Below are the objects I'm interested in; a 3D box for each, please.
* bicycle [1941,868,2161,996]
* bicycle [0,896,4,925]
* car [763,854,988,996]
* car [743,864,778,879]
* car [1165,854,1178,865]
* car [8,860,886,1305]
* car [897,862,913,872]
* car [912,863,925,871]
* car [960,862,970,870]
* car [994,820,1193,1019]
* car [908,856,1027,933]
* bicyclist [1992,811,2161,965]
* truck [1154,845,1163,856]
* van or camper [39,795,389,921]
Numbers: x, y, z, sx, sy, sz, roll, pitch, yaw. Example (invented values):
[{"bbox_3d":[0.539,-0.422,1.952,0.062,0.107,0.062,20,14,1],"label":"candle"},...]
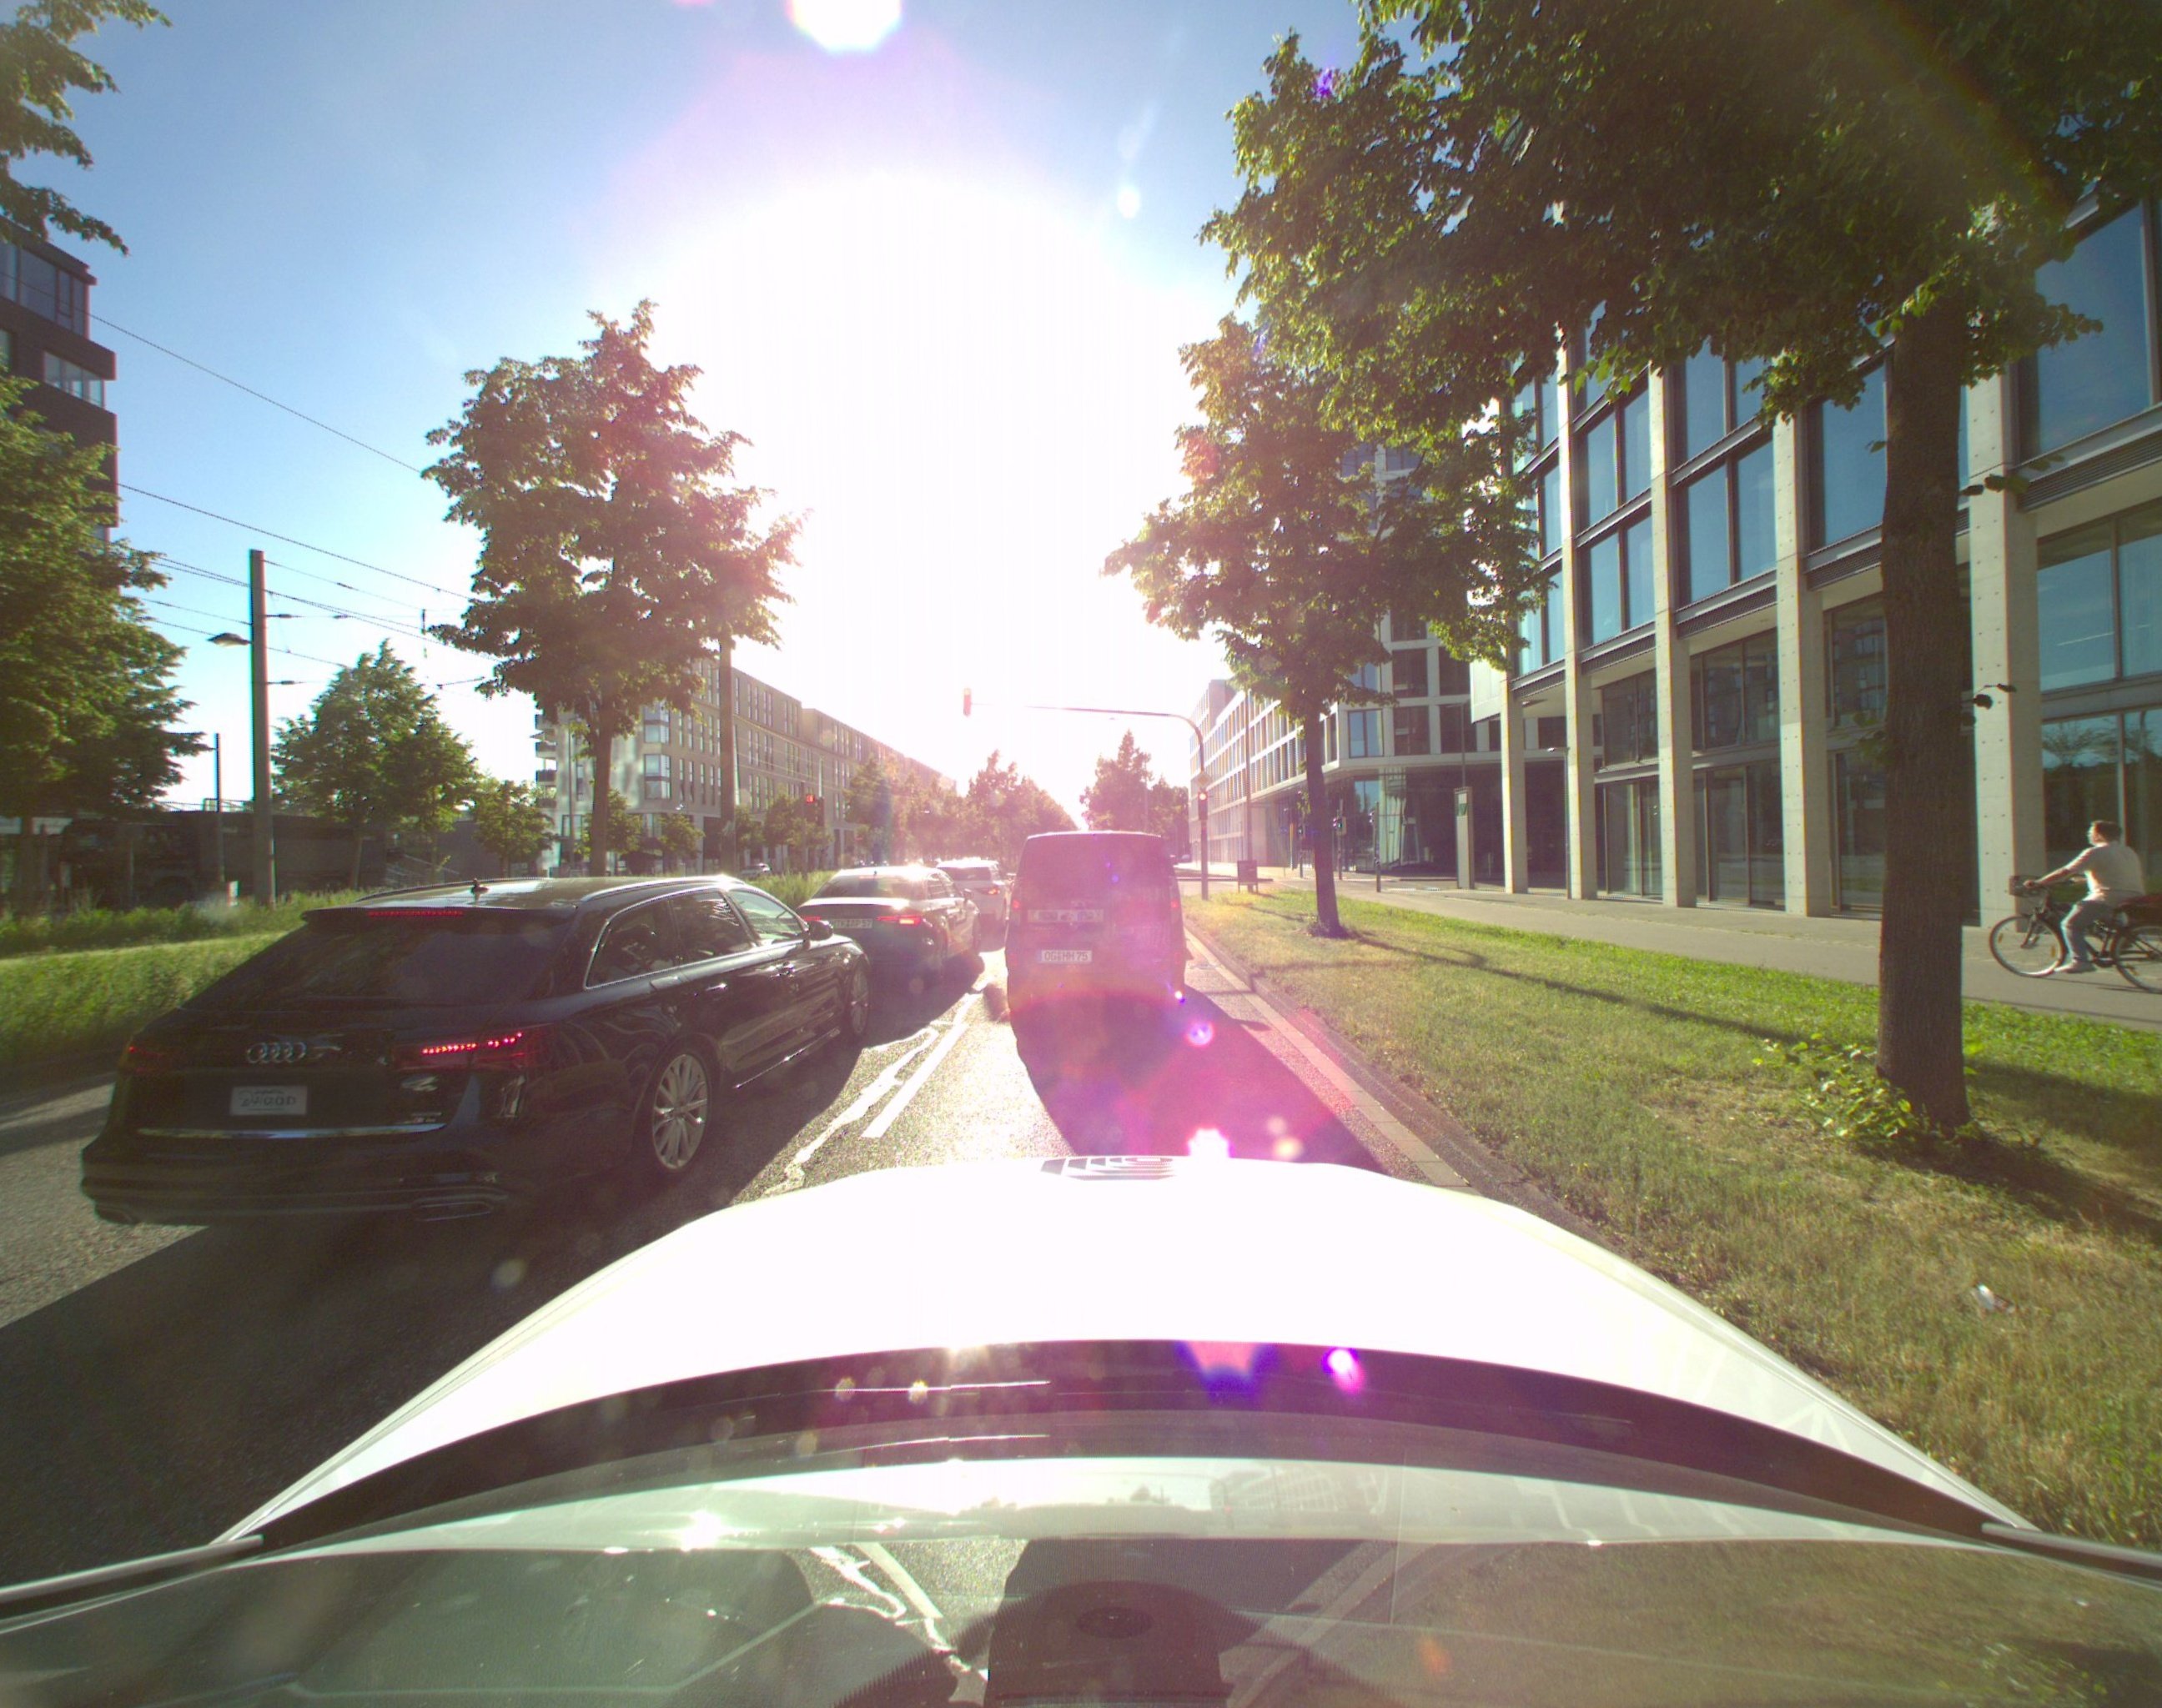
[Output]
[{"bbox_3d":[10.577,0.751,8.670,0.739,1.174,1.962,-3,-1,2],"label":"bicycle"},{"bbox_3d":[-38.920,2.020,28.287,0.525,1.034,1.848,0,-1,2],"label":"bicycle"},{"bbox_3d":[-2.495,0.779,10.991,1.801,1.527,4.115,-1,0,3],"label":"car"},{"bbox_3d":[-31.623,1.683,80.519,1.574,1.342,4.473,-1,0,1],"label":"car"},{"bbox_3d":[14.209,0.809,127.743,1.750,1.611,3.906,-1,0,3],"label":"car"},{"bbox_3d":[-2.729,0.805,5.057,1.801,1.457,4.509,-1,0,2],"label":"car"},{"bbox_3d":[-29.755,2.203,137.421,1.769,1.528,3.807,-1,0,1],"label":"car"},{"bbox_3d":[-30.070,2.421,150.527,1.574,1.342,3.713,-1,0,1],"label":"car"},{"bbox_3d":[-28.453,2.952,199.917,1.723,2.013,3.999,-1,0,-1],"label":"car"},{"bbox_3d":[0.207,0.605,9.552,1.801,1.794,4.115,-1,0,2],"label":"car"},{"bbox_3d":[-2.309,0.779,17.695,1.801,1.434,4.115,-1,0,2],"label":"car"},{"bbox_3d":[10.571,0.345,8.664,0.768,1.531,0.850,-2,0,1],"label":"bicyclist"},{"bbox_3d":[18.882,-0.850,198.486,1.825,2.501,5.934,-1,-1,1],"label":"truck"},{"bbox_3d":[-33.611,0.160,32.588,2.743,4.192,10.234,-1,0,2],"label":"van or camper"}]
